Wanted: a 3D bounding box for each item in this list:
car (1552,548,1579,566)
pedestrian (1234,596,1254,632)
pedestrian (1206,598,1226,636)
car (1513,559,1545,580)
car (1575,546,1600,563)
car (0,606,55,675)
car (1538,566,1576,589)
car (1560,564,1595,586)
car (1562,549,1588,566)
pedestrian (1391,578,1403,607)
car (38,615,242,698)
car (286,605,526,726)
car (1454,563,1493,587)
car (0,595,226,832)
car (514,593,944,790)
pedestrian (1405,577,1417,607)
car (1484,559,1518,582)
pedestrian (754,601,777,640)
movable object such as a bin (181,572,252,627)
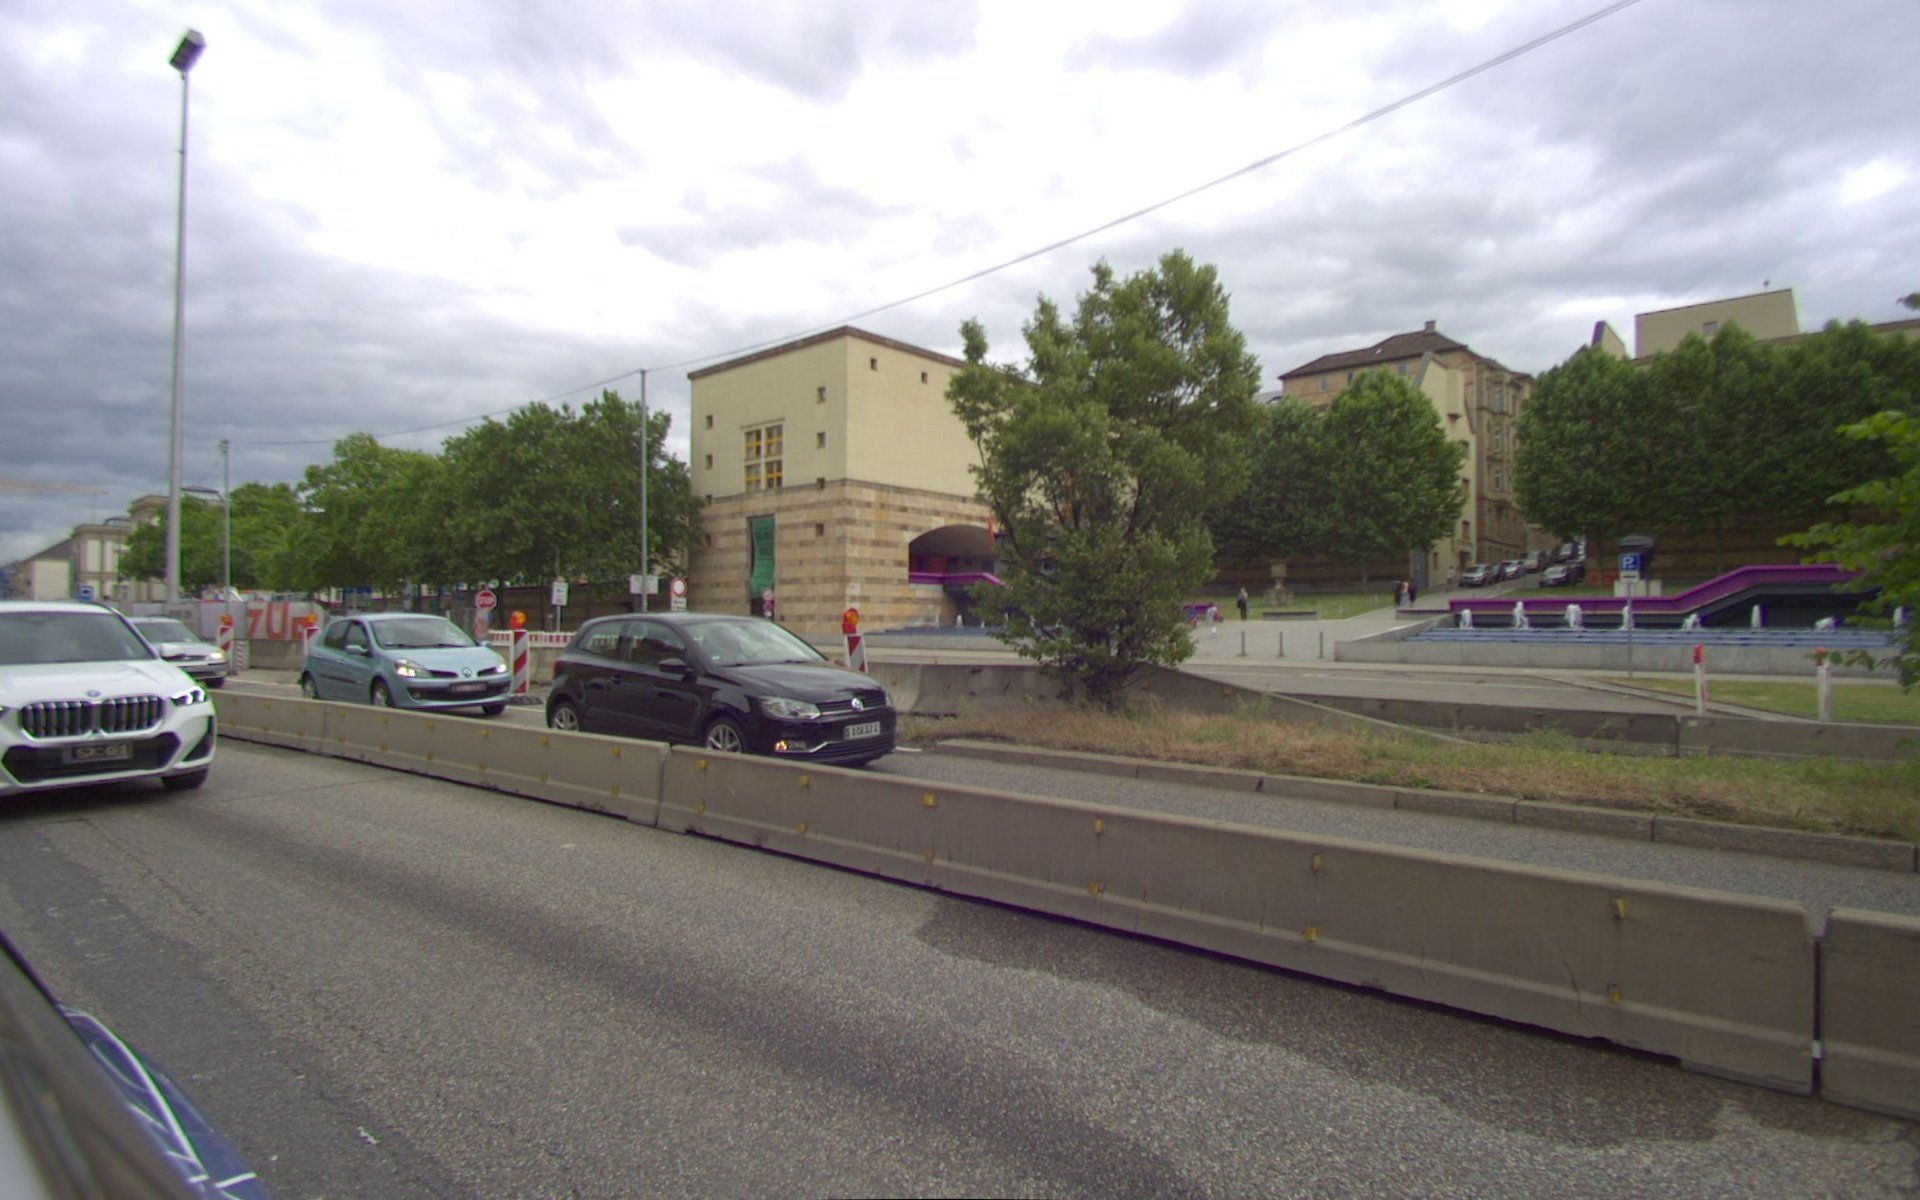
[{"bbox_3d":[61.168,-4.295,102.248,1.610,1.694,3.754,-1,0,43],"label":"car"},{"bbox_3d":[14.989,0.718,53.378,0.804,1.866,0.684,0,1,42],"label":"pedestrian"},{"bbox_3d":[11.586,0.758,45.788,0.518,1.708,0.700,-1,0,-36],"label":"pedestrian"},{"bbox_3d":[51.408,-2.770,91.413,1.610,1.811,3.754,-1,0,43],"label":"car"},{"bbox_3d":[68.580,-4.965,110.571,1.610,1.623,3.754,-1,0,43],"label":"car"},{"bbox_3d":[-24.333,0.980,25.348,4.039,1.633,1.760,0,0,37],"label":"car"},{"bbox_3d":[41.143,-1.561,69.684,1.609,1.548,3.756,0,1,41],"label":"car"},{"bbox_3d":[45.775,-1.830,74.947,1.609,1.548,3.756,0,1,41],"label":"car"},{"bbox_3d":[64.698,-4.488,106.381,1.610,1.623,3.754,-1,0,43],"label":"car"},{"bbox_3d":[26.268,-0.449,60.879,0.477,1.762,0.638,-1,0,40],"label":"pedestrian"},{"bbox_3d":[-16.796,1.072,20.676,4.689,1.492,1.864,-1,0,32],"label":"car"},{"bbox_3d":[-8.112,0.855,14.709,3.848,1.518,1.657,-1,0,38],"label":"car"},{"bbox_3d":[39.976,-1.926,78.796,1.611,1.811,3.752,-1,0,44],"label":"car"},{"bbox_3d":[-8.358,0.798,8.825,4.898,1.640,1.834,0,0,37],"label":"car"},{"bbox_3d":[-2.295,0.697,9.466,4.192,1.465,1.643,-1,0,38],"label":"car"},{"bbox_3d":[27.025,-0.478,60.592,0.477,1.762,0.638,-1,0,40],"label":"pedestrian"},{"bbox_3d":[45.053,-2.447,84.255,1.610,1.811,3.754,-1,0,43],"label":"car"},{"bbox_3d":[-10.535,1.099,54.866,0.815,2.029,0.836,-1,1,42],"label":"pedestrian"},{"bbox_3d":[-30.937,0.029,42.103,3.287,2.202,1.507,-1,-2,37],"label":"movable object such as a bin"}]
